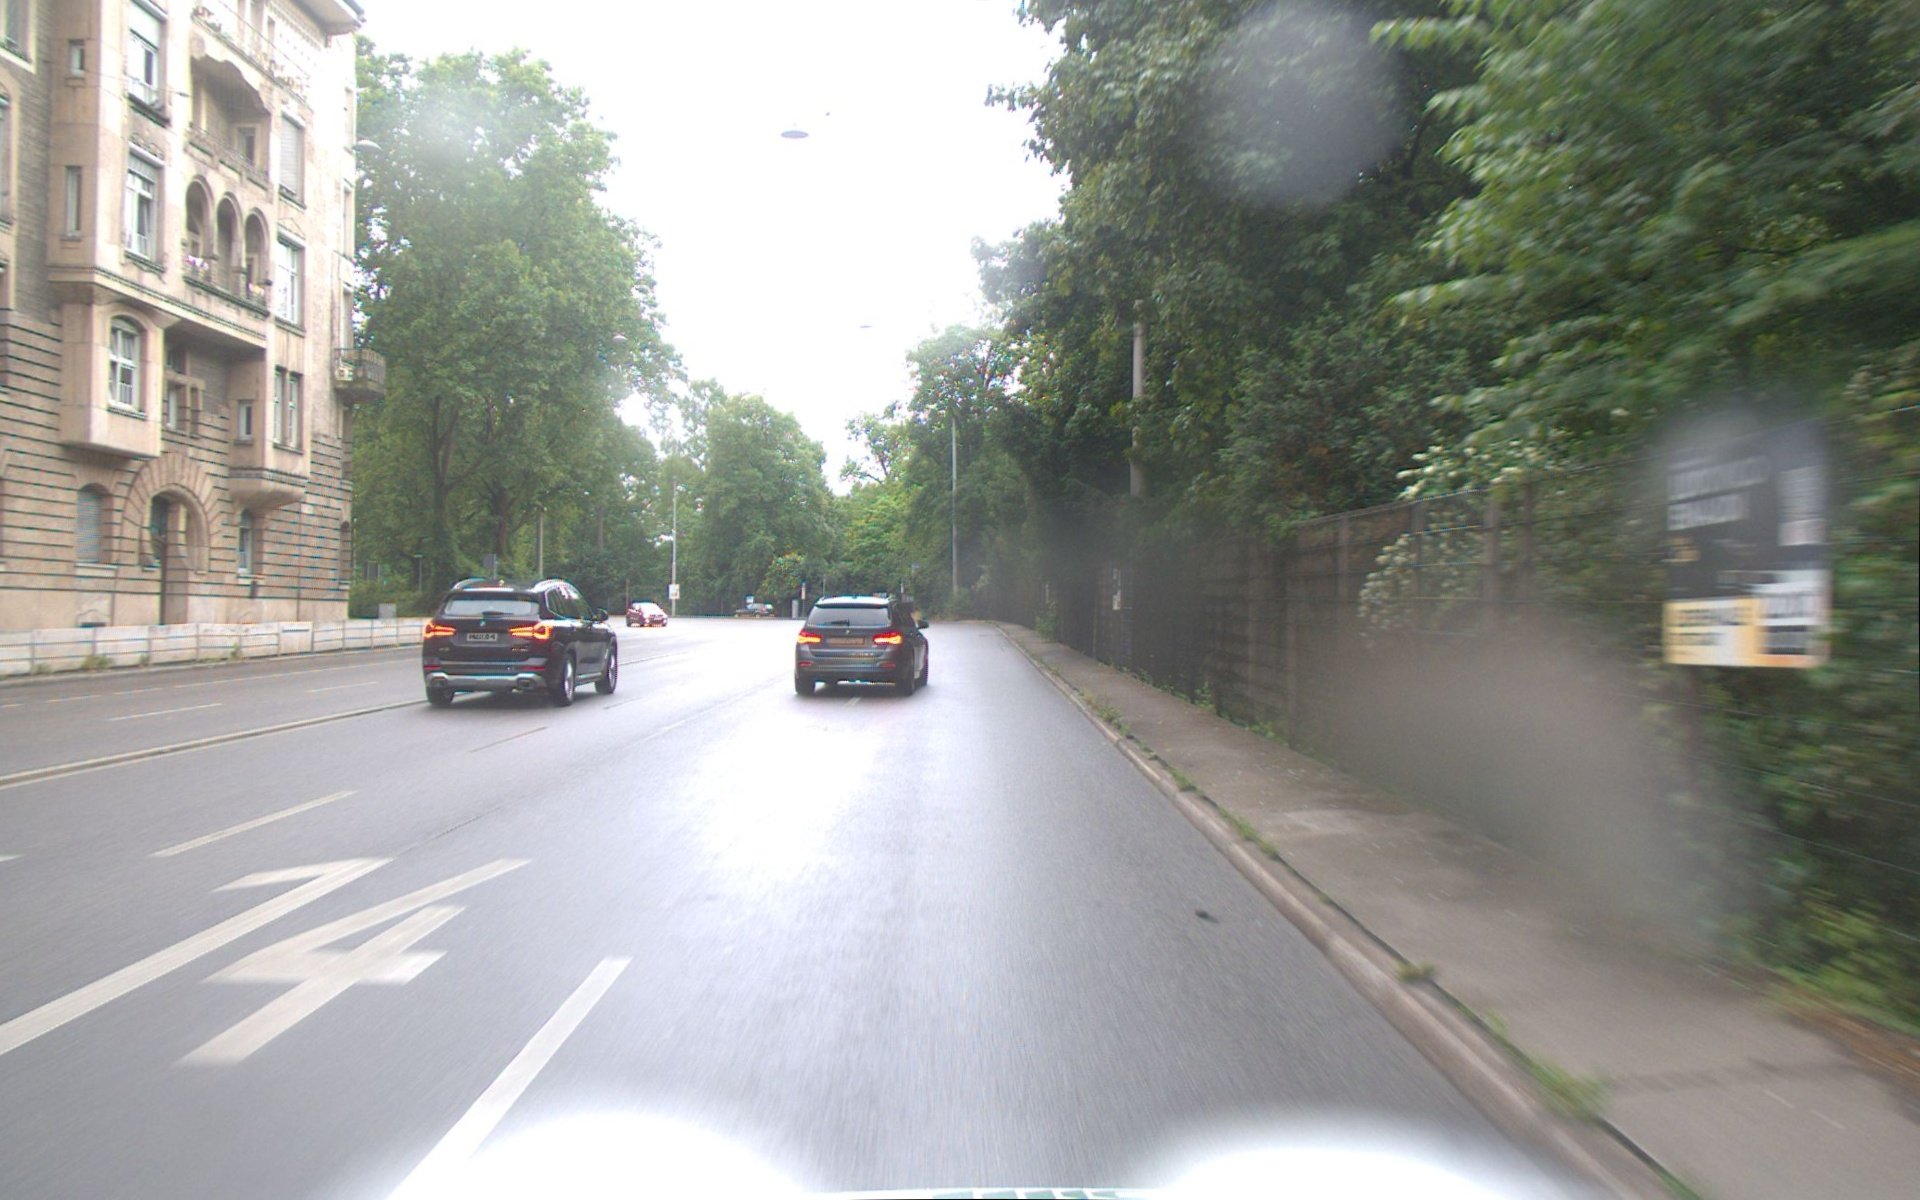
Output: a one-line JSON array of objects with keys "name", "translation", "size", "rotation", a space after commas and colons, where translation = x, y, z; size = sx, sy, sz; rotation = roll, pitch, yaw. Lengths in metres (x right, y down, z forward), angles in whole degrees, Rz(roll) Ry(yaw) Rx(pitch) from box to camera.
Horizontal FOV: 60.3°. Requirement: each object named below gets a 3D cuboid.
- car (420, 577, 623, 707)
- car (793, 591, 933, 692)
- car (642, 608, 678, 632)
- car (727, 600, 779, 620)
[{"name": "car", "translation": [-5.983, 0.533, 23.098], "size": [1.722, 1.613, 4.411], "rotation": [1, 0, -1]}, {"name": "car", "translation": [-1.433, 0.606, 26.023], "size": [1.721, 1.457, 4.414], "rotation": [0, 0, 3]}, {"name": "car", "translation": [-18.861, 1.256, 103.982], "size": [1.547, 1.439, 3.961], "rotation": [0, 0, 0]}, {"name": "car", "translation": [-16.575, 0.782, 132.387], "size": [4.295, 1.452, 1.682], "rotation": [0, -3, 43]}]
